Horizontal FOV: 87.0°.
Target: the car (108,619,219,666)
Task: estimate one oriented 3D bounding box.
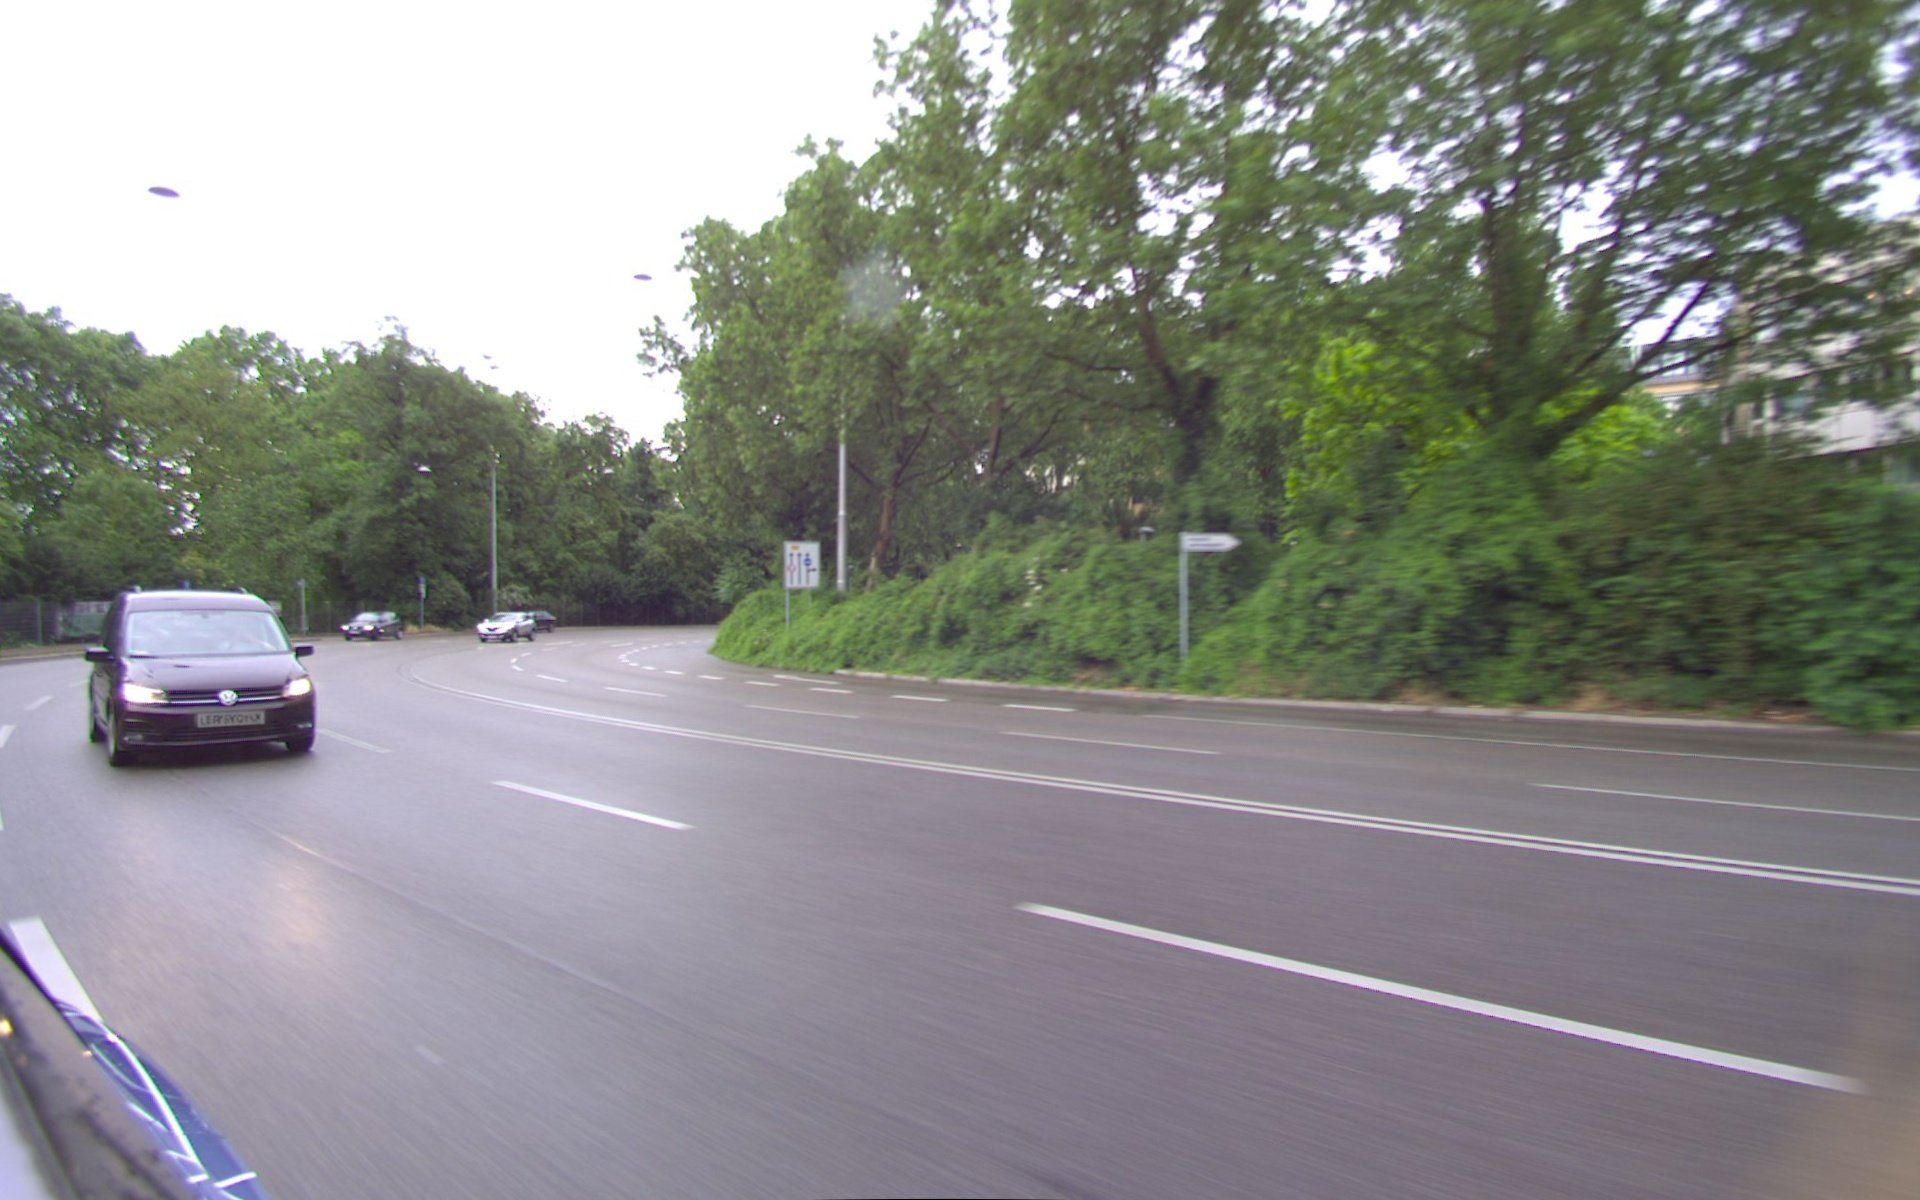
[{"bbox_3d":[-26.926,1.390,34.363,1.765,1.464,4.013,0,-1,-20],"label":"car"}]

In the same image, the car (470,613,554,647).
[{"bbox_3d":[-24.420,1.621,55.366,1.978,1.758,4.640,0,-1,10],"label":"car"}]

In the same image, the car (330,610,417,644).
[{"bbox_3d":[-31.425,1.406,54.342,1.978,1.758,3.988,0,-1,10],"label":"car"}]

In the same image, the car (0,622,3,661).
[{"bbox_3d":[-34.786,1.512,34.219,1.846,1.387,4.187,-4,0,-18],"label":"car"}]

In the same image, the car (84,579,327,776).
[{"bbox_3d":[-8.662,0.740,11.473,1.769,1.813,4.129,1,-1,-43],"label":"car"}]
